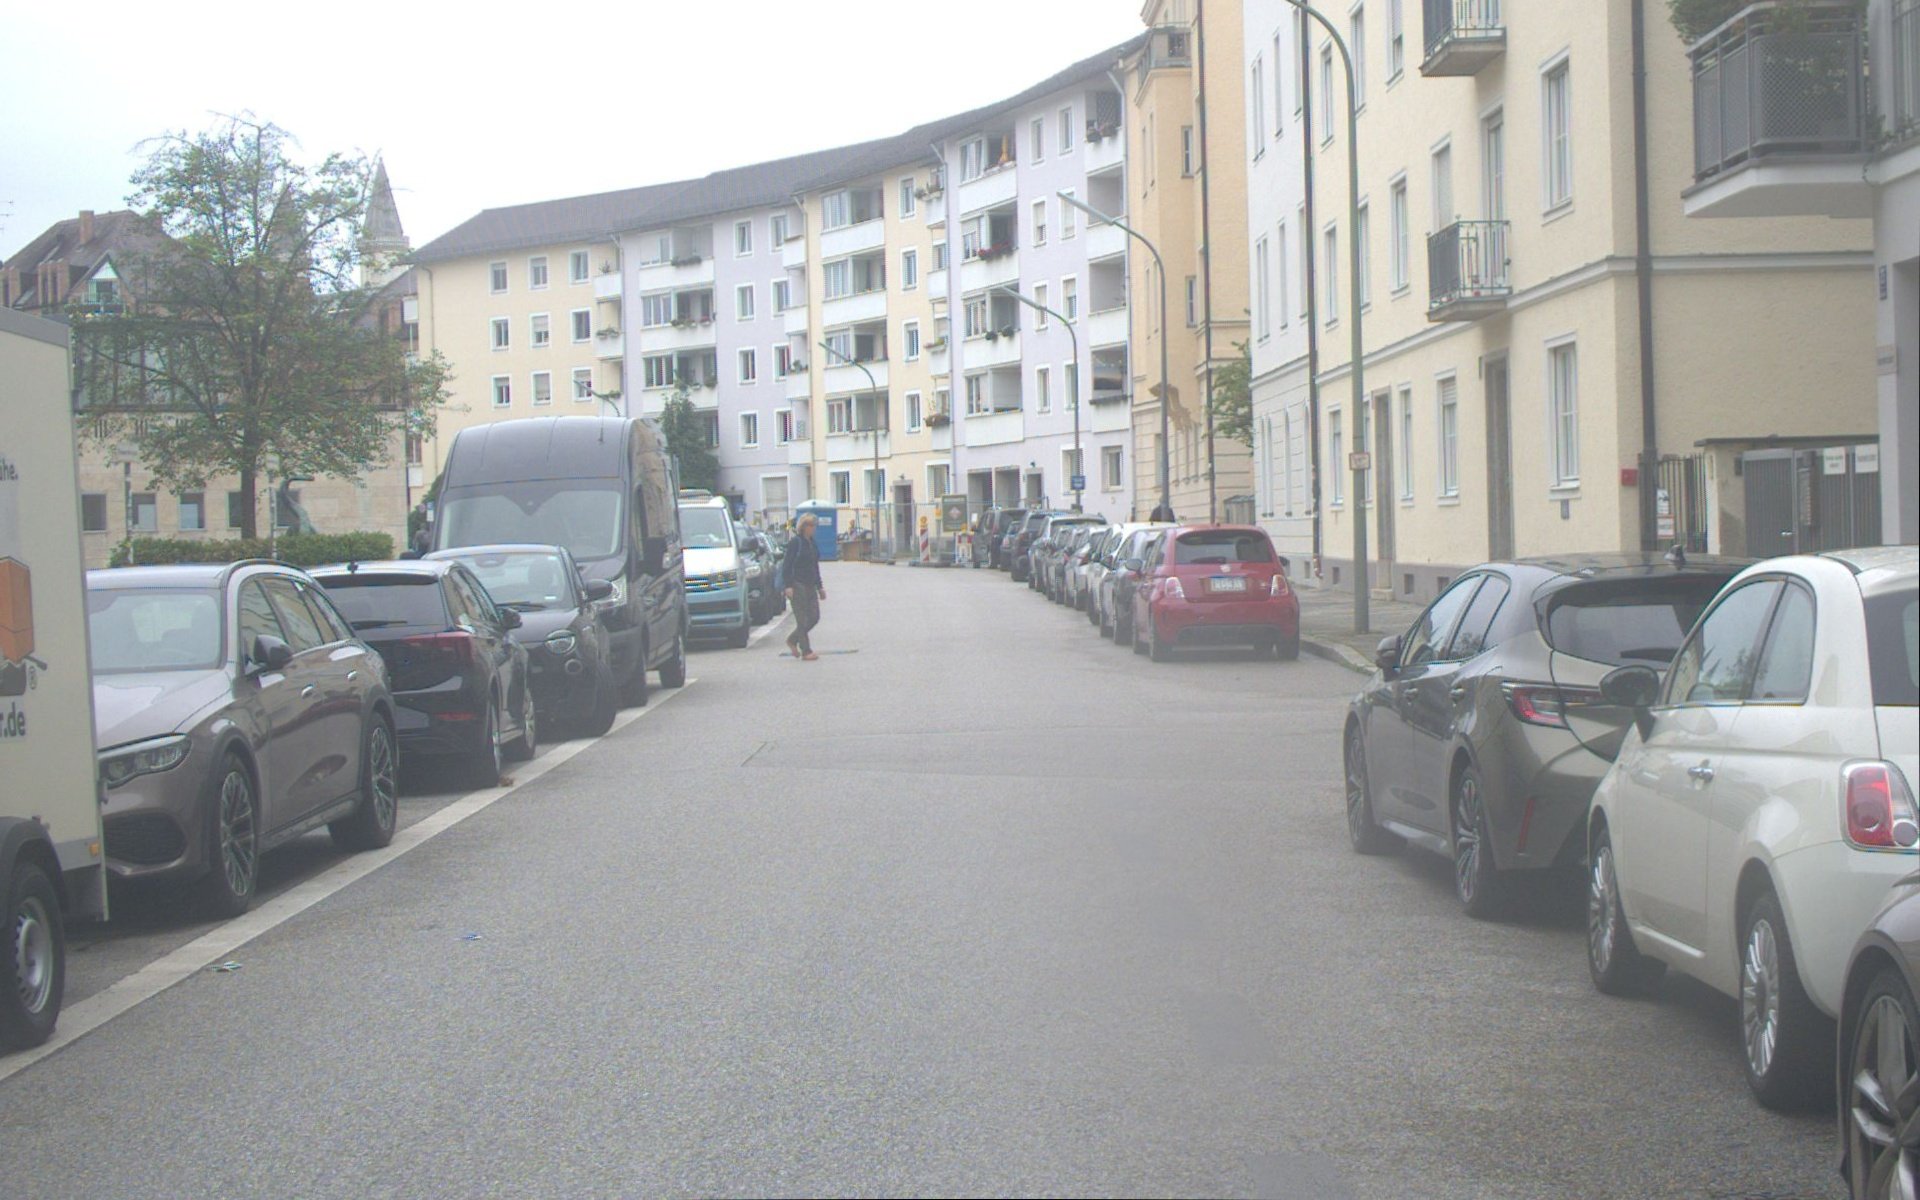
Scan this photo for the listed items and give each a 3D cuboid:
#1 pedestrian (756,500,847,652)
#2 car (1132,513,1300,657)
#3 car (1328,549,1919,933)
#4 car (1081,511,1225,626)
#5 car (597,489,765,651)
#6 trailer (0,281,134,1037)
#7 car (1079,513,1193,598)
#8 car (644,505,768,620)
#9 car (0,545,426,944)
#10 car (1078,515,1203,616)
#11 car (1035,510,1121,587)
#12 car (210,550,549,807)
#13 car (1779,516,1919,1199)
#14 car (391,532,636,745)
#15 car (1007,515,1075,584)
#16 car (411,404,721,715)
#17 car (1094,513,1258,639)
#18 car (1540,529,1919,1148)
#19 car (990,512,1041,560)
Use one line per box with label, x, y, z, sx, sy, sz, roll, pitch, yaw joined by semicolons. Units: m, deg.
pedestrian;-1.824;-0.269;39.521;0.672;1.722;0.794;-1;-1;44
car;2.853;-0.208;38.906;1.595;1.503;3.801;-2;1;0
car;2.795;0.498;14.910;1.763;1.403;4.079;-1;1;-3
car;2.740;-0.494;49.532;1.692;1.486;4.283;-2;2;-1
car;-3.626;-0.449;45.390;1.882;1.925;4.601;-3;2;-2
trailer;-4.036;0.246;10.312;1.709;2.453;4.386;-3;1;3
car;3.034;-0.786;59.918;1.692;1.427;3.945;0;1;-1
car;-4.067;-0.640;55.540;1.701;1.685;4.028;-3;2;-1
car;-3.856;0.568;15.996;1.766;1.533;4.541;-3;1;3
car;2.832;-0.579;54.567;1.599;1.486;3.800;-1;2;-2
car;2.513;-1.132;74.021;1.590;1.576;4.300;0;2;-1
car;-3.708;0.441;22.536;1.700;1.441;3.825;-1;2;-2
car;2.660;0.653;4.956;1.734;1.525;4.622;1;1;-1
car;-3.495;0.249;27.426;1.585;1.533;3.544;-2;1;-2
car;1.963;-1.252;83.961;1.474;1.635;4.001;0;2;-1
car;-3.582;-0.436;32.299;2.088;2.627;5.377;-1;2;2
car;2.726;-0.324;44.171;1.692;1.486;4.343;-2;1;-1
car;2.812;0.554;10.254;1.519;1.525;3.527;0;1;-1
car;1.544;-1.802;95.989;1.272;1.294;2.798;-1;1;-2
